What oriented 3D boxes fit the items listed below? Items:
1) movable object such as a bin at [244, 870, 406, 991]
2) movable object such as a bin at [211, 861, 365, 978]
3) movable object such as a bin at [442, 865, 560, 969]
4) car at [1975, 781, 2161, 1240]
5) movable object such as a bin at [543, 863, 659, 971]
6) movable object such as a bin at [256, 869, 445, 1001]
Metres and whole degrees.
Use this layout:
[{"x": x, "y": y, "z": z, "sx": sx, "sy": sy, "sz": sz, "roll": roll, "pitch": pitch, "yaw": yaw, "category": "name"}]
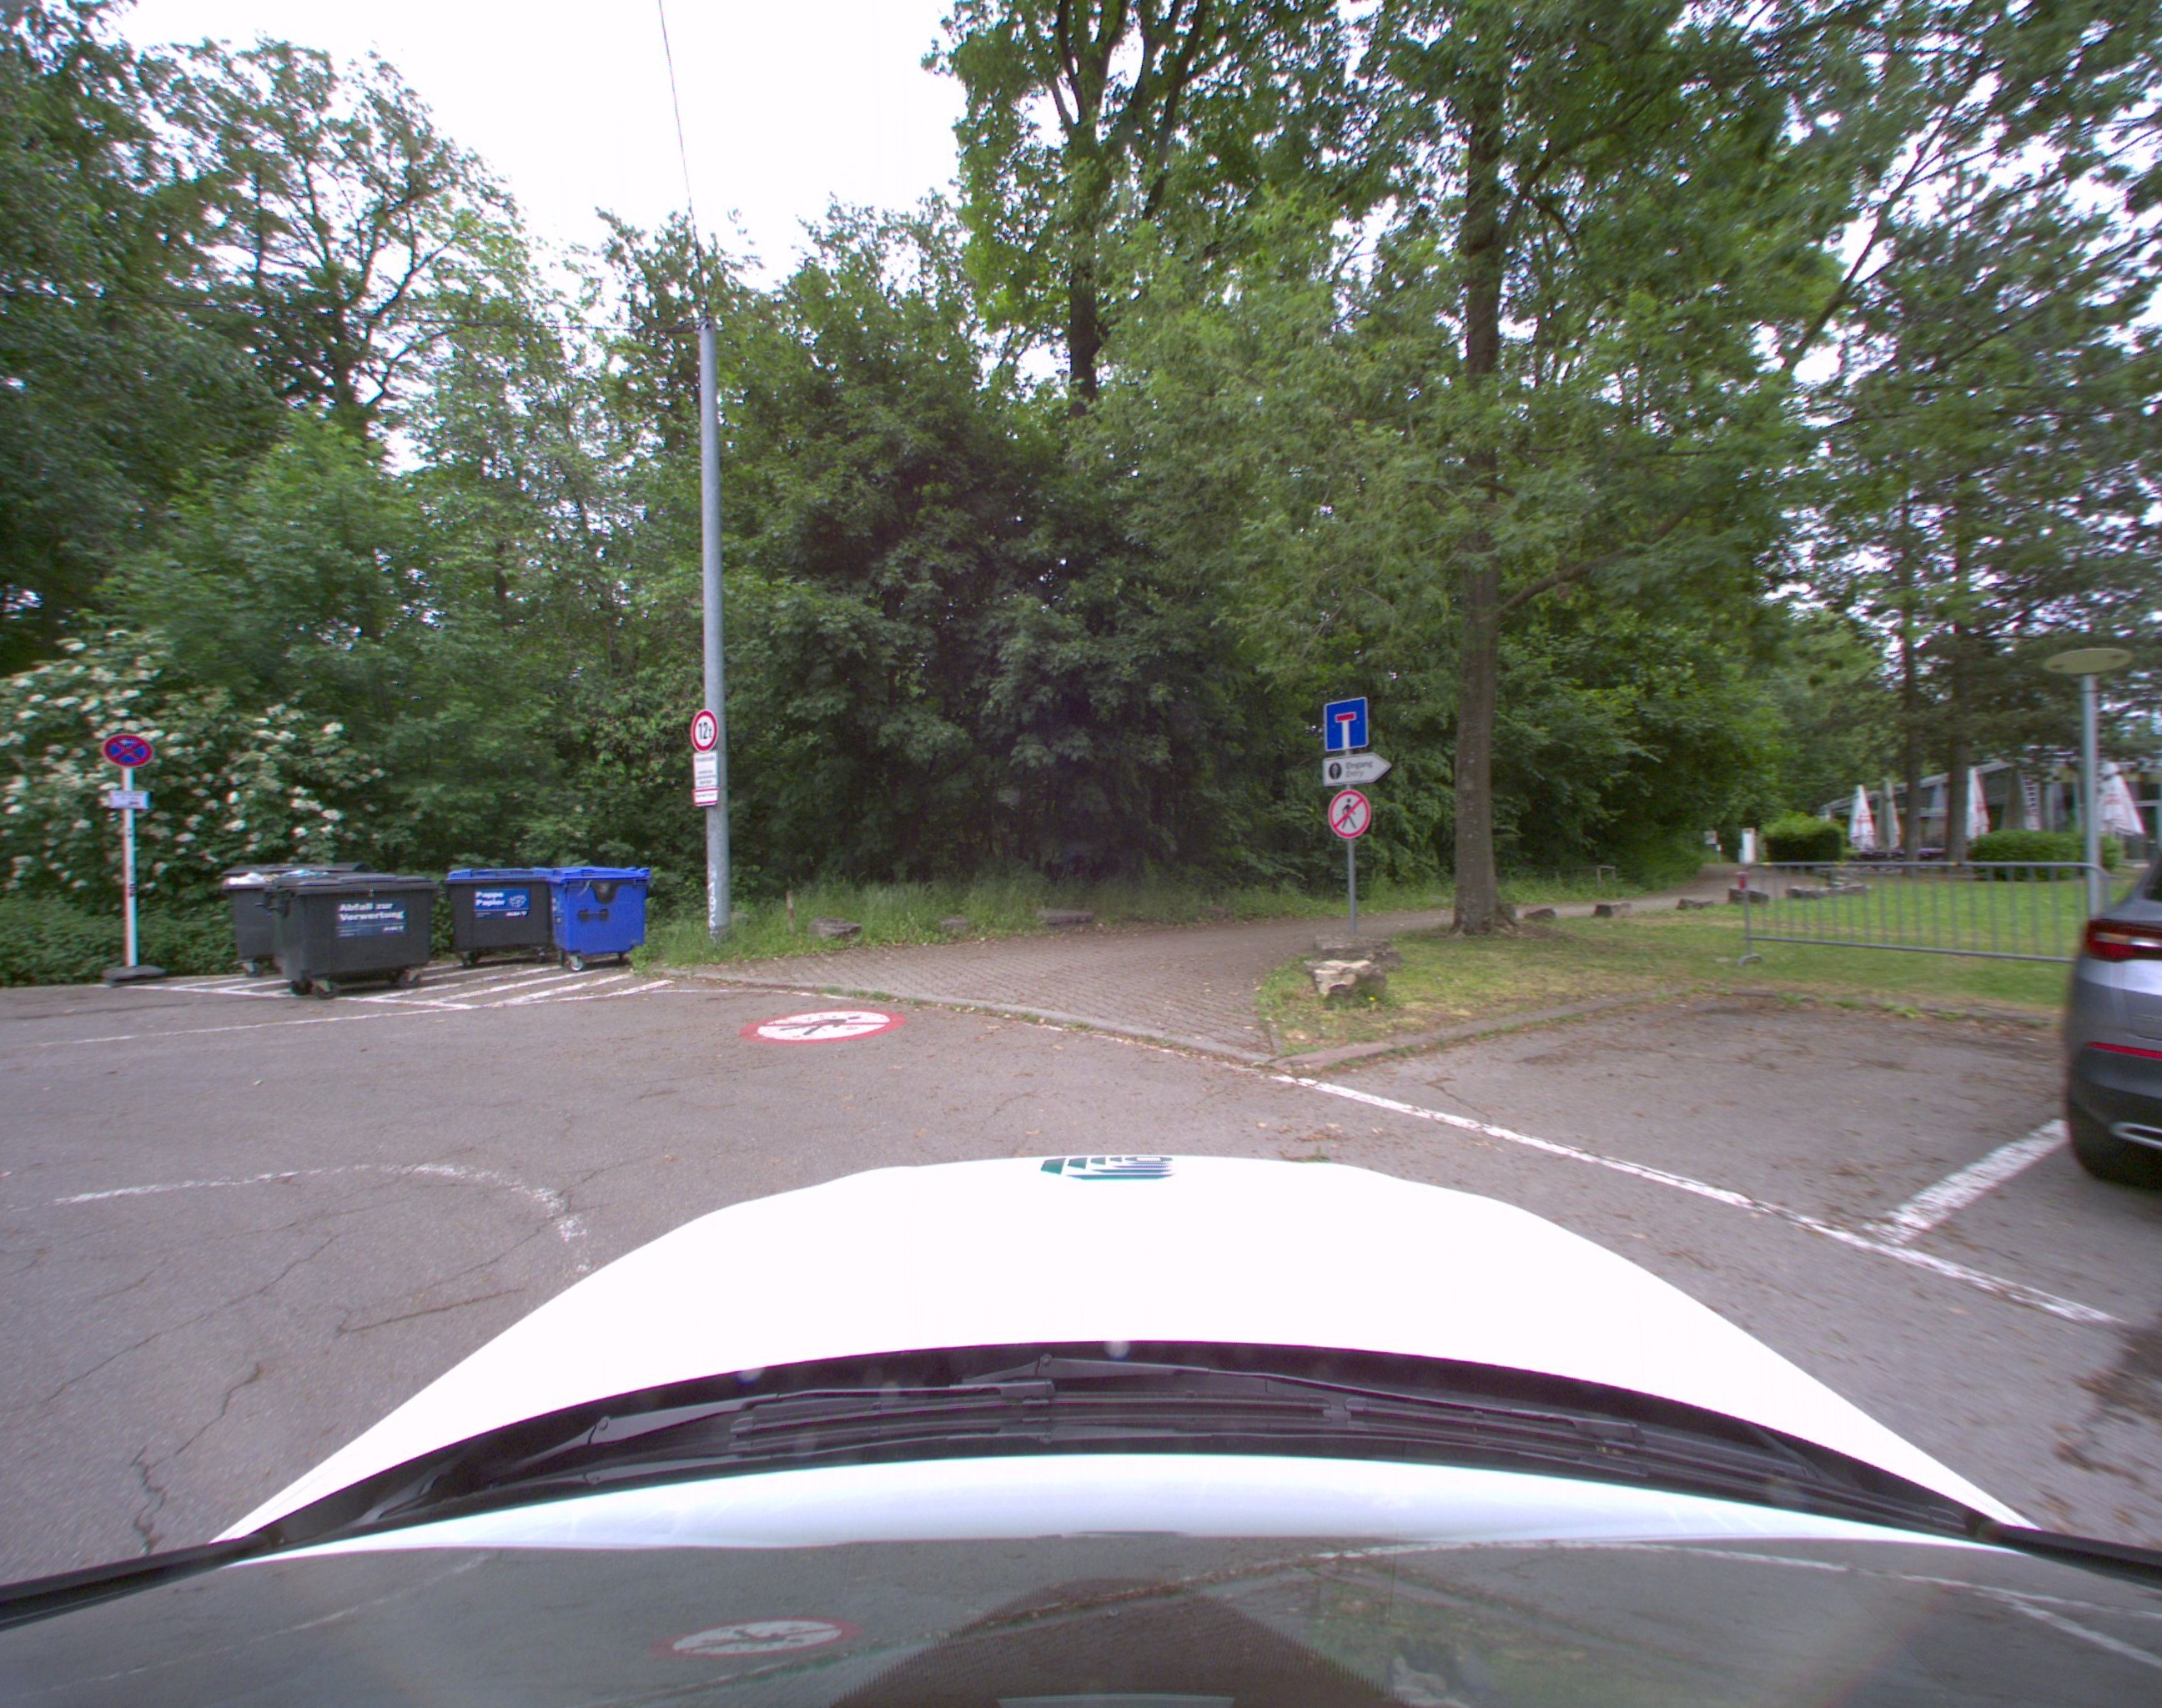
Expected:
[{"x": -9.184, "y": 0.874, "z": 9.908, "sx": 1.112, "sy": 1.314, "sz": 1.192, "roll": -1, "pitch": 0, "yaw": 33, "category": "movable object such as a bin"}, {"x": -10.504, "y": 0.816, "z": 10.864, "sx": 1.132, "sy": 1.425, "sz": 1.118, "roll": -1, "pitch": 0, "yaw": -24, "category": "movable object such as a bin"}, {"x": -8.032, "y": 0.824, "z": 11.360, "sx": 1.244, "sy": 1.320, "sz": 1.116, "roll": -1, "pitch": 0, "yaw": -32, "category": "movable object such as a bin"}, {"x": 5.733, "y": 0.497, "z": 3.261, "sx": 4.008, "sy": 1.585, "sz": 1.883, "roll": -1, "pitch": 0, "yaw": -27, "category": "car"}, {"x": -6.484, "y": 0.792, "z": 10.999, "sx": 1.152, "sy": 1.325, "sz": 1.242, "roll": -1, "pitch": 0, "yaw": -40, "category": "movable object such as a bin"}, {"x": -8.231, "y": 0.846, "z": 9.204, "sx": 1.157, "sy": 1.307, "sz": 1.322, "roll": -1, "pitch": 0, "yaw": 33, "category": "movable object such as a bin"}]
